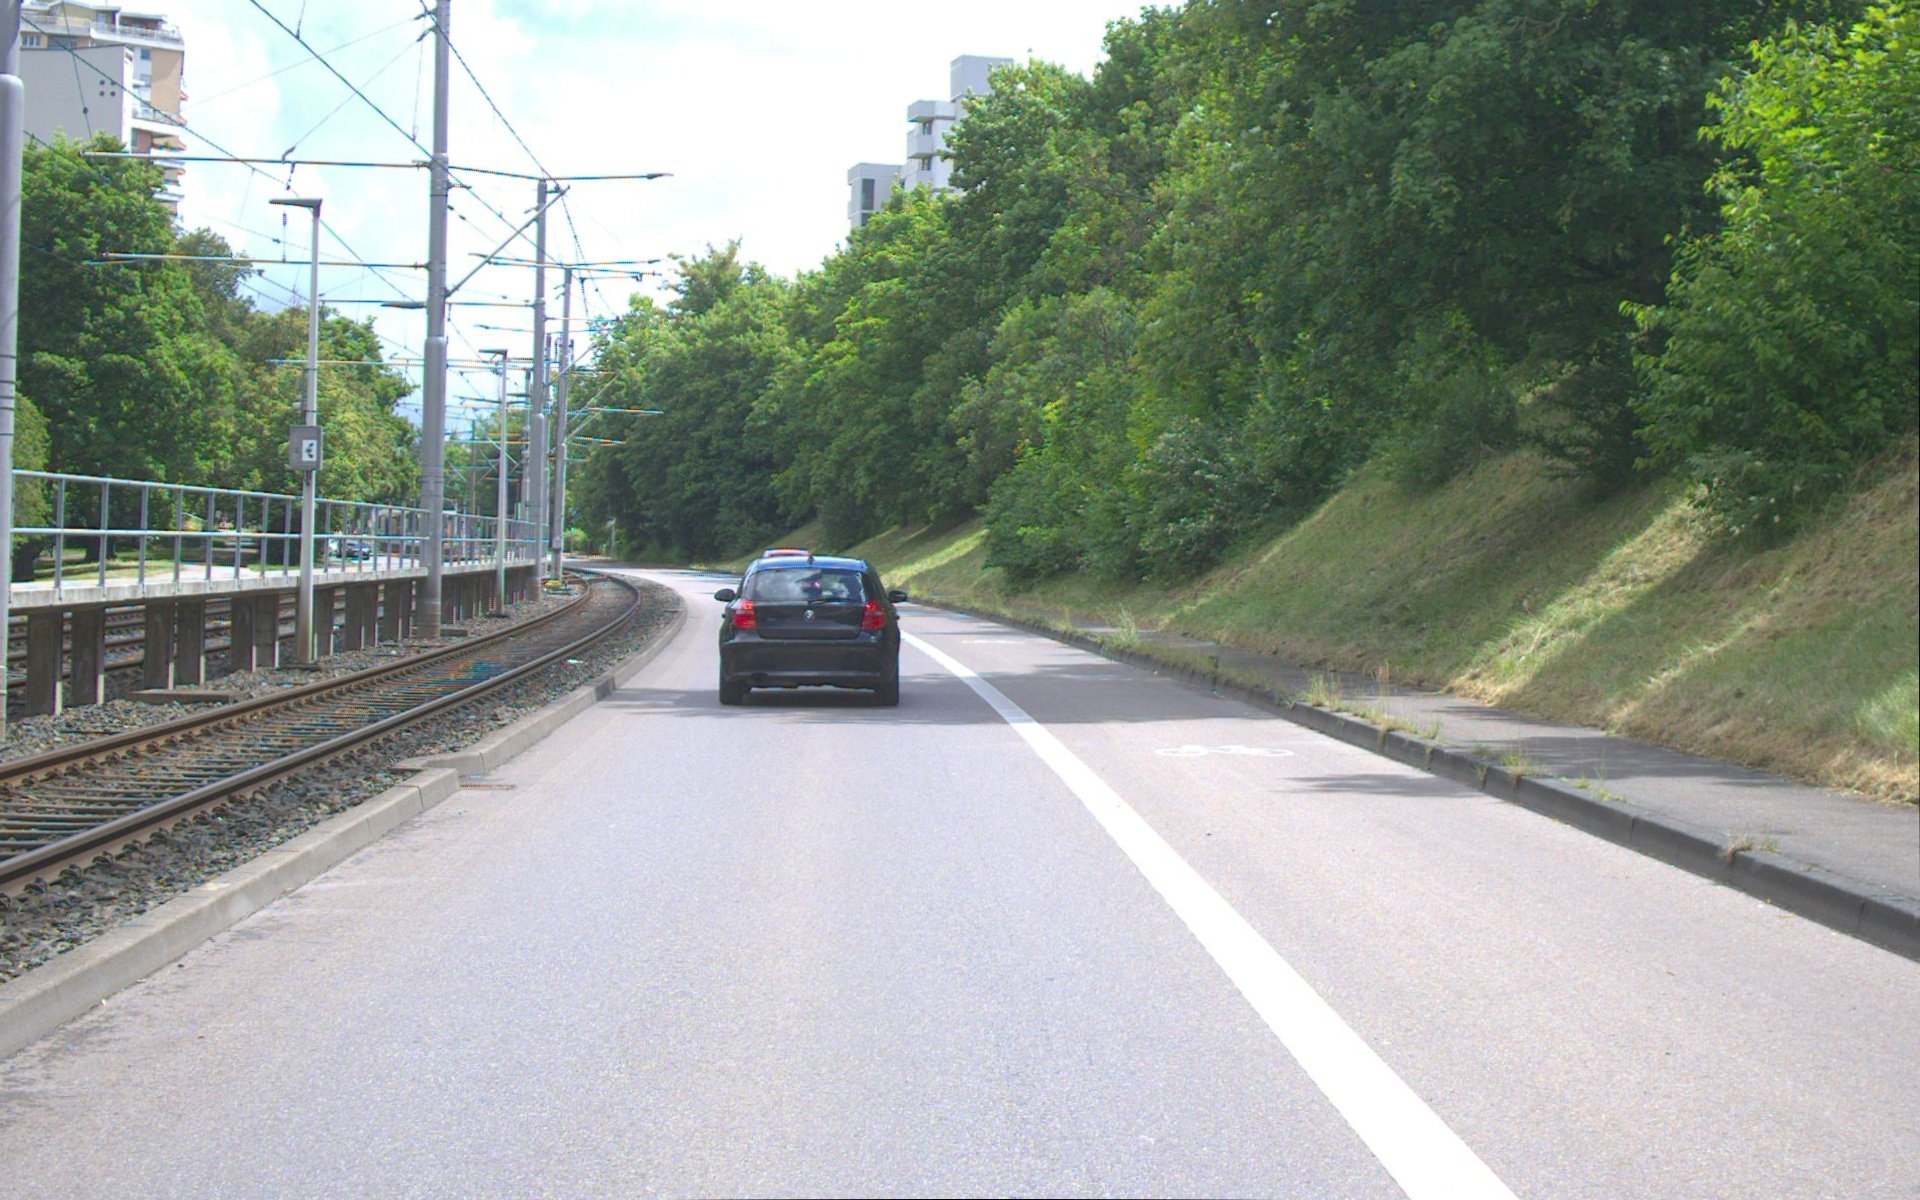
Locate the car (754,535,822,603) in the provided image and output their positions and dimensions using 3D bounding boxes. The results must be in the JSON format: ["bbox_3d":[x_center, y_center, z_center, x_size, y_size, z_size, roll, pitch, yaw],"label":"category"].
[{"bbox_3d":[-4.323,-0.792,86.511,1.624,1.438,3.422,2,4,-3],"label":"car"}]

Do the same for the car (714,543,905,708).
[{"bbox_3d":[-1.480,0.219,33.837,1.708,1.455,3.961,2,0,-3],"label":"car"}]
